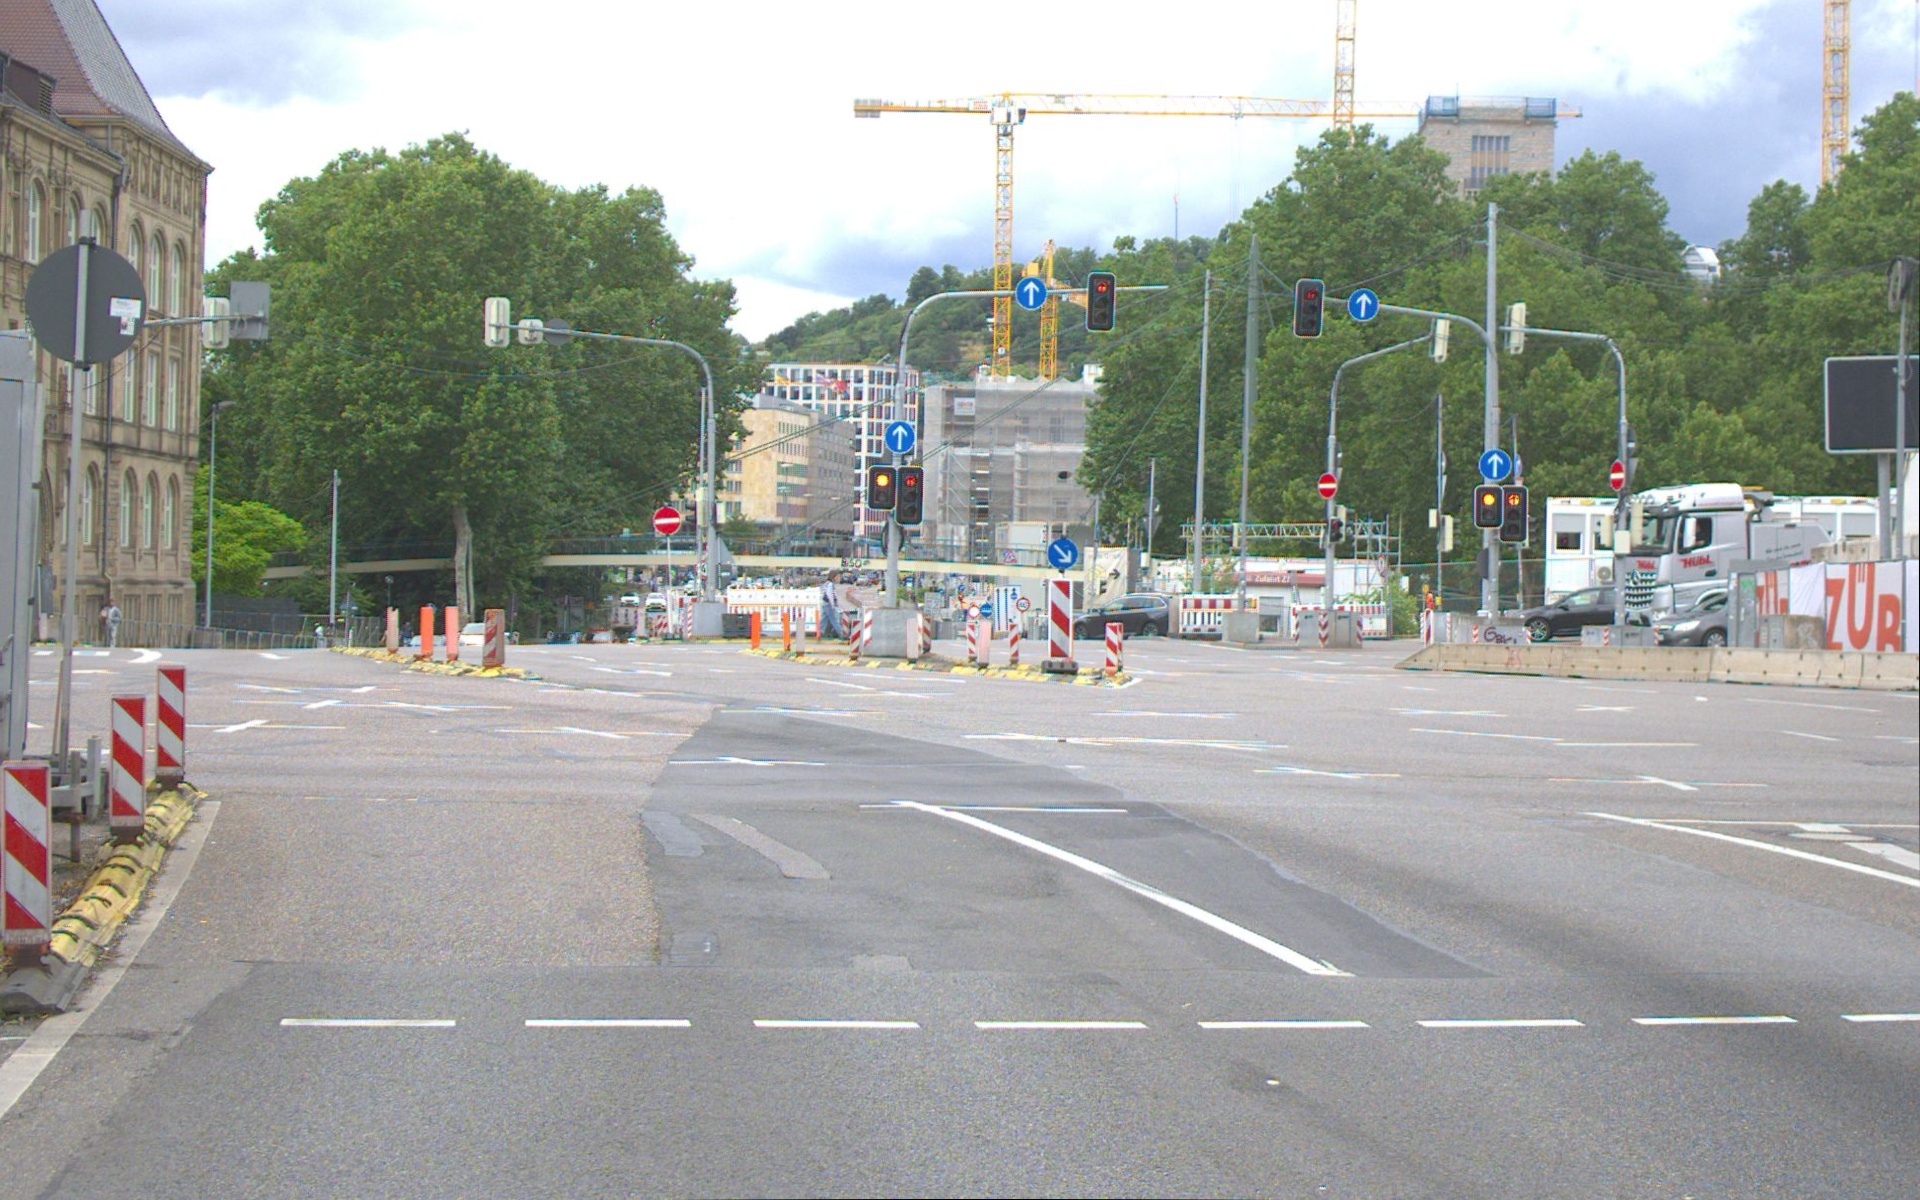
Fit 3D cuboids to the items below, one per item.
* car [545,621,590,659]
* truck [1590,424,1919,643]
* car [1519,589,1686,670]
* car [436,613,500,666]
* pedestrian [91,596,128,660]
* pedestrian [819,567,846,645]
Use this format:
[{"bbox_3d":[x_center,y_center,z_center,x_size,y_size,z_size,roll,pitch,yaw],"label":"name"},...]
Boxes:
[{"bbox_3d":[-19.788,2.001,173.582,1.993,1.831,4.001,1,1,-3],"label":"car"},{"bbox_3d":[19.985,-1.504,80.991,9.712,4.943,3.114,1,0,-18],"label":"truck"},{"bbox_3d":[16.695,0.762,89.482,3.987,2.007,2.000,1,0,1],"label":"car"},{"bbox_3d":[-18.123,1.432,126.771,1.993,1.831,4.001,1,1,-3],"label":"car"},{"bbox_3d":[-26.952,0.875,108.935,0.950,2.007,0.766,1,0,2],"label":"pedestrian"},{"bbox_3d":[-3.024,0.149,81.400,0.585,1.834,0.604,1,0,-4],"label":"pedestrian"}]
